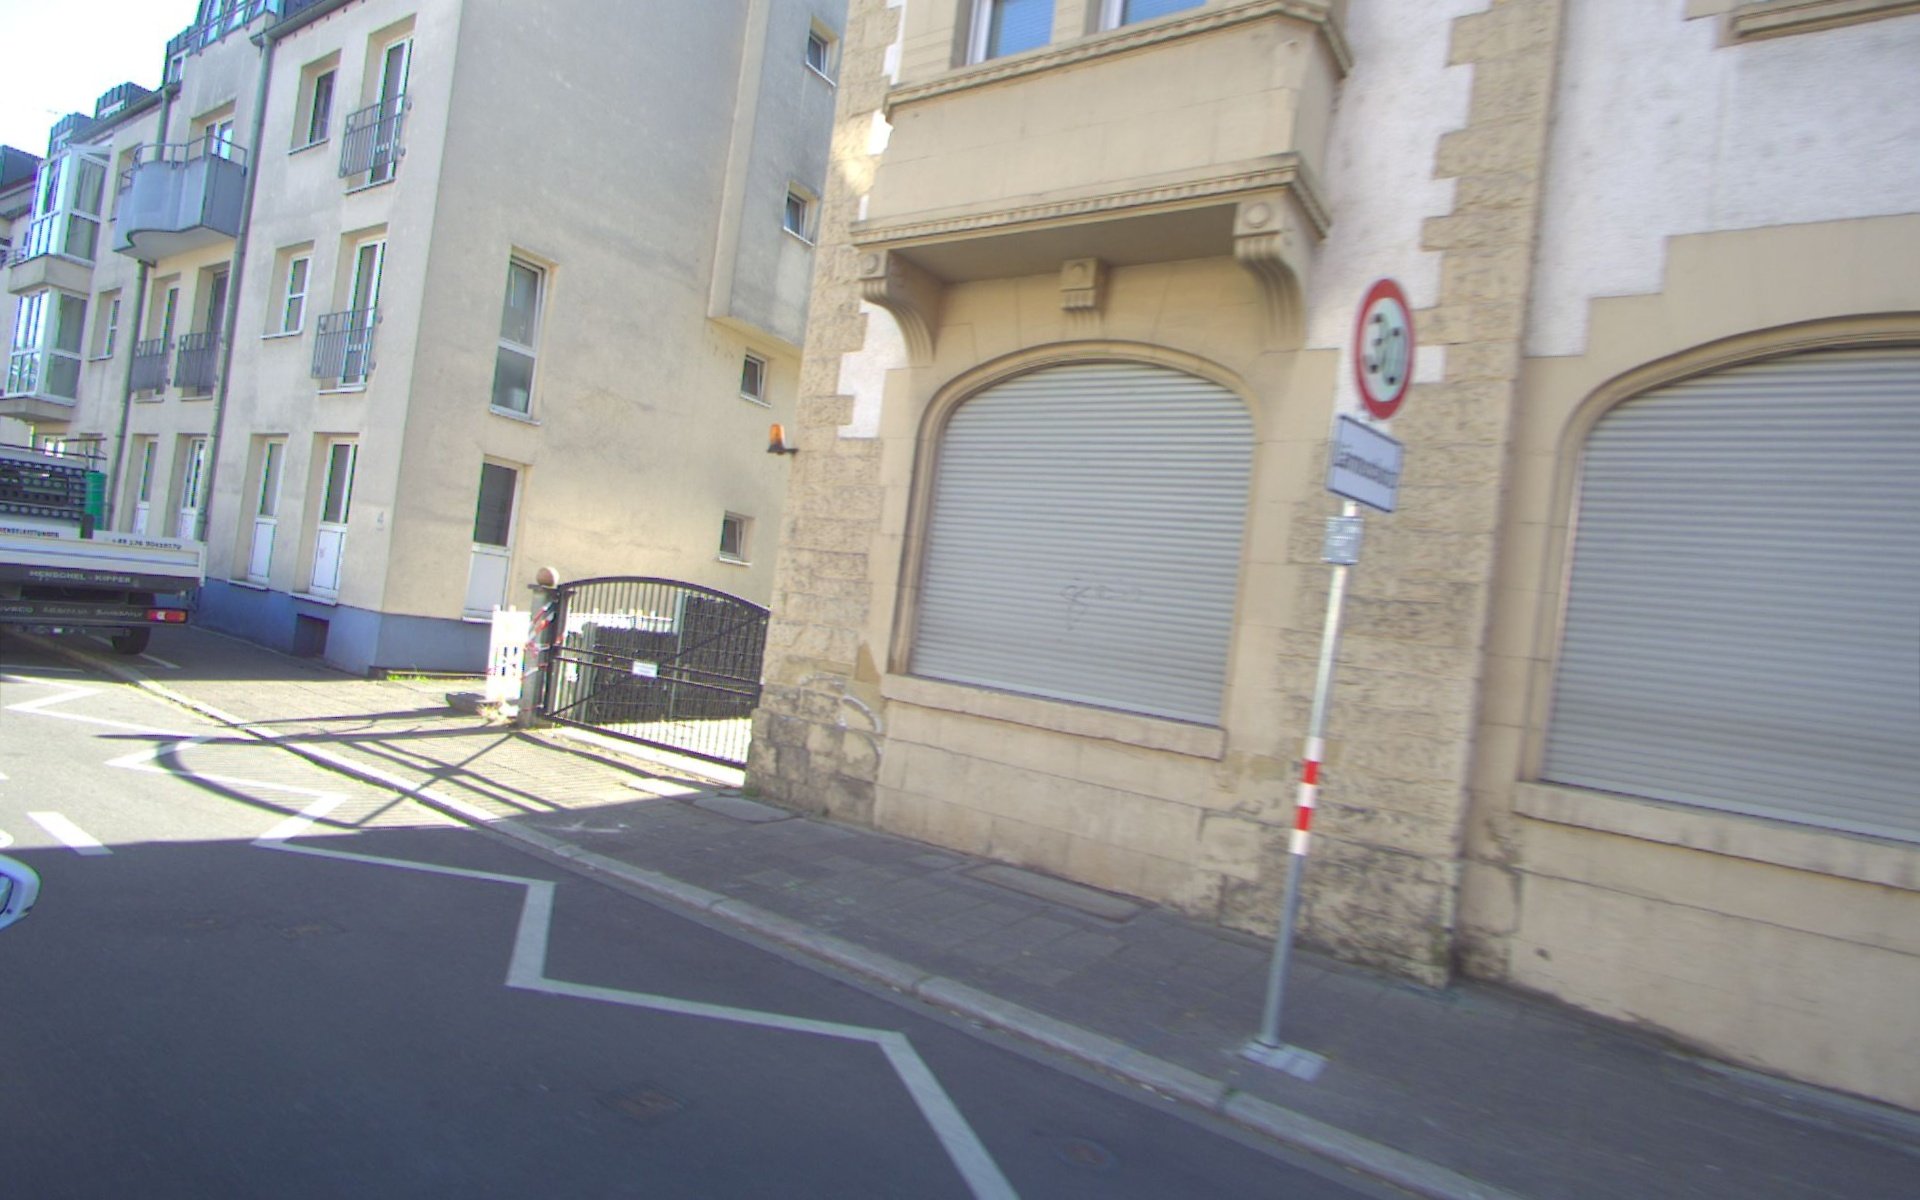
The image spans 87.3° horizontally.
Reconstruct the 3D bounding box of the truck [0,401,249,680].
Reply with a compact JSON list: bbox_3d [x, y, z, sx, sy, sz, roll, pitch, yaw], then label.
[{"bbox_3d":[-10.975,-0.779,11.704,6.049,2.506,2.298,7,-1,35],"label":"truck"}]
